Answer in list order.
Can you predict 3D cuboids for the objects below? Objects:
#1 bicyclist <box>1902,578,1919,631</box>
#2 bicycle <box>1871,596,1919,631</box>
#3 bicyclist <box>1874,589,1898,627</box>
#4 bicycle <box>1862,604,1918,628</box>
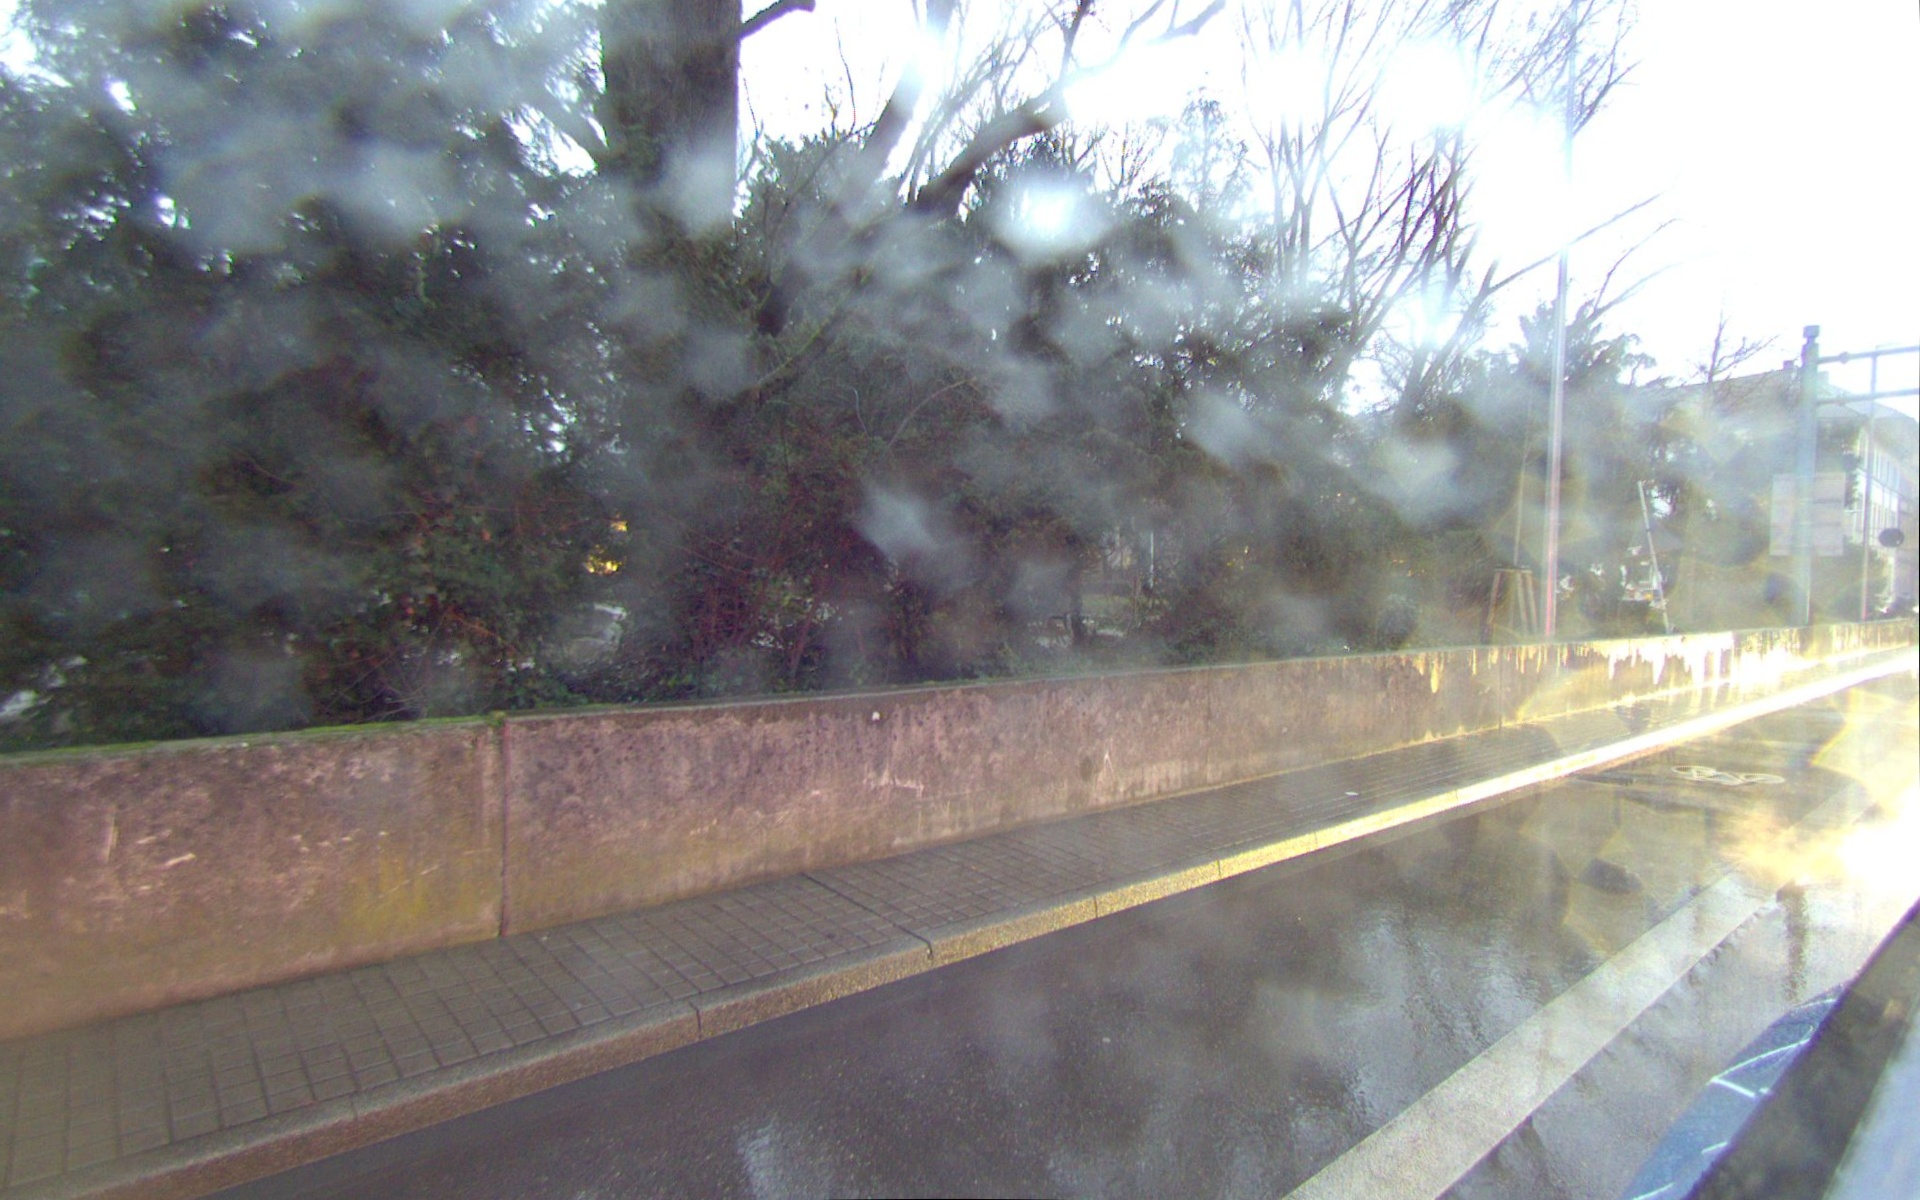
[{"bbox_3d":[41.209,0.183,43.539,0.930,2.250,0.955,0,0,39],"label":"bicyclist"},{"bbox_3d":[41.389,0.575,43.408,3.373,1.469,0.954,0,0,40],"label":"bicycle"},{"bbox_3d":[41.764,0.363,45.640,0.586,1.706,0.687,0,0,23],"label":"bicyclist"},{"bbox_3d":[41.891,0.698,45.592,1.702,1.055,0.687,0,0,24],"label":"bicycle"}]
